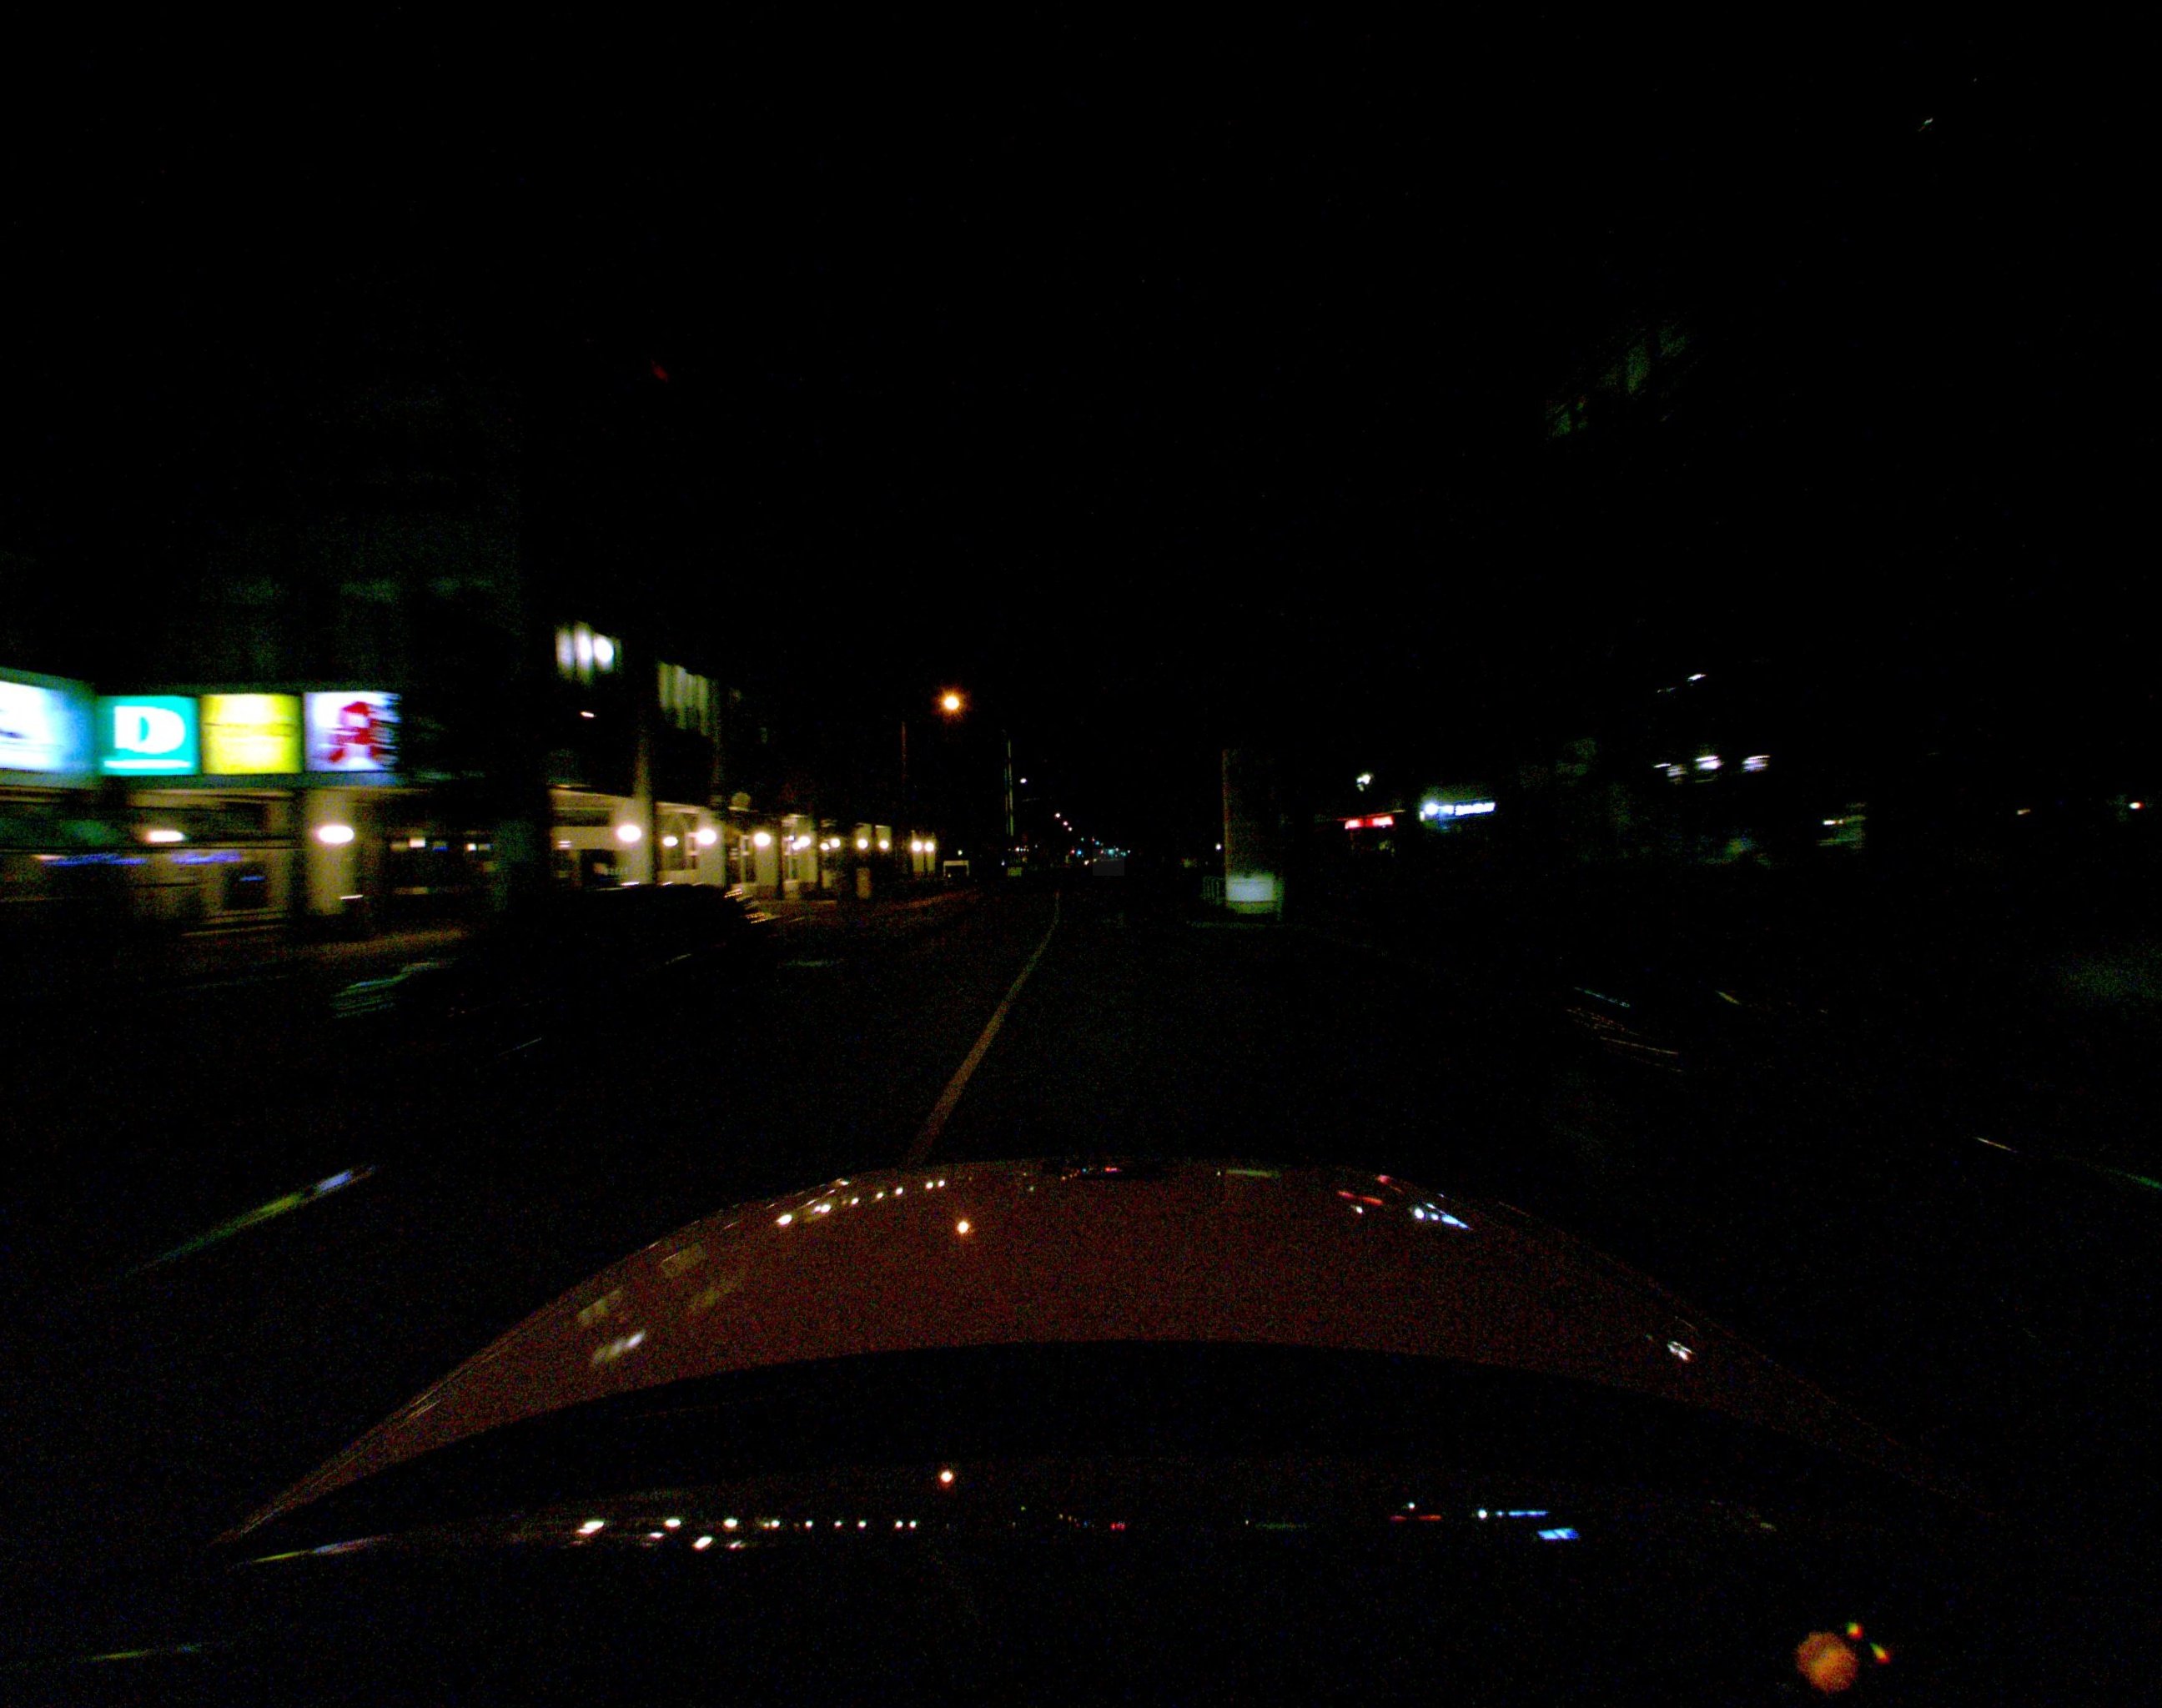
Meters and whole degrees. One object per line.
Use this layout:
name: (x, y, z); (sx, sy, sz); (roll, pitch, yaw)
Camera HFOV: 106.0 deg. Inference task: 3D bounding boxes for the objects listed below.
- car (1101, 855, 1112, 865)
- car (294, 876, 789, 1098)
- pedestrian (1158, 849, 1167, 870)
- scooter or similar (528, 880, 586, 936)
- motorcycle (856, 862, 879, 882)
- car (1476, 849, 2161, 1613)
car: (4.666, 1.096, 150.538); (1.987, 1.643, 4.000); (-3, 0, 1)
car: (-4.615, 1.002, 7.990); (1.735, 1.413, 4.497); (-1, 0, 2)
pedestrian: (7.325, 0.504, 73.443); (0.700, 1.818, 1.082); (-3, 0, 1)
scooter or similar: (-12.270, 1.246, 19.101); (0.386, 1.221, 1.345); (-2, 0, 4)
motorcycle: (-11.524, 0.976, 43.911); (0.475, 1.020, 1.680); (-2, 0, 12)
car: (2.960, 0.728, 1.963); (1.757, 1.414, 4.809); (-3, 0, 2)
